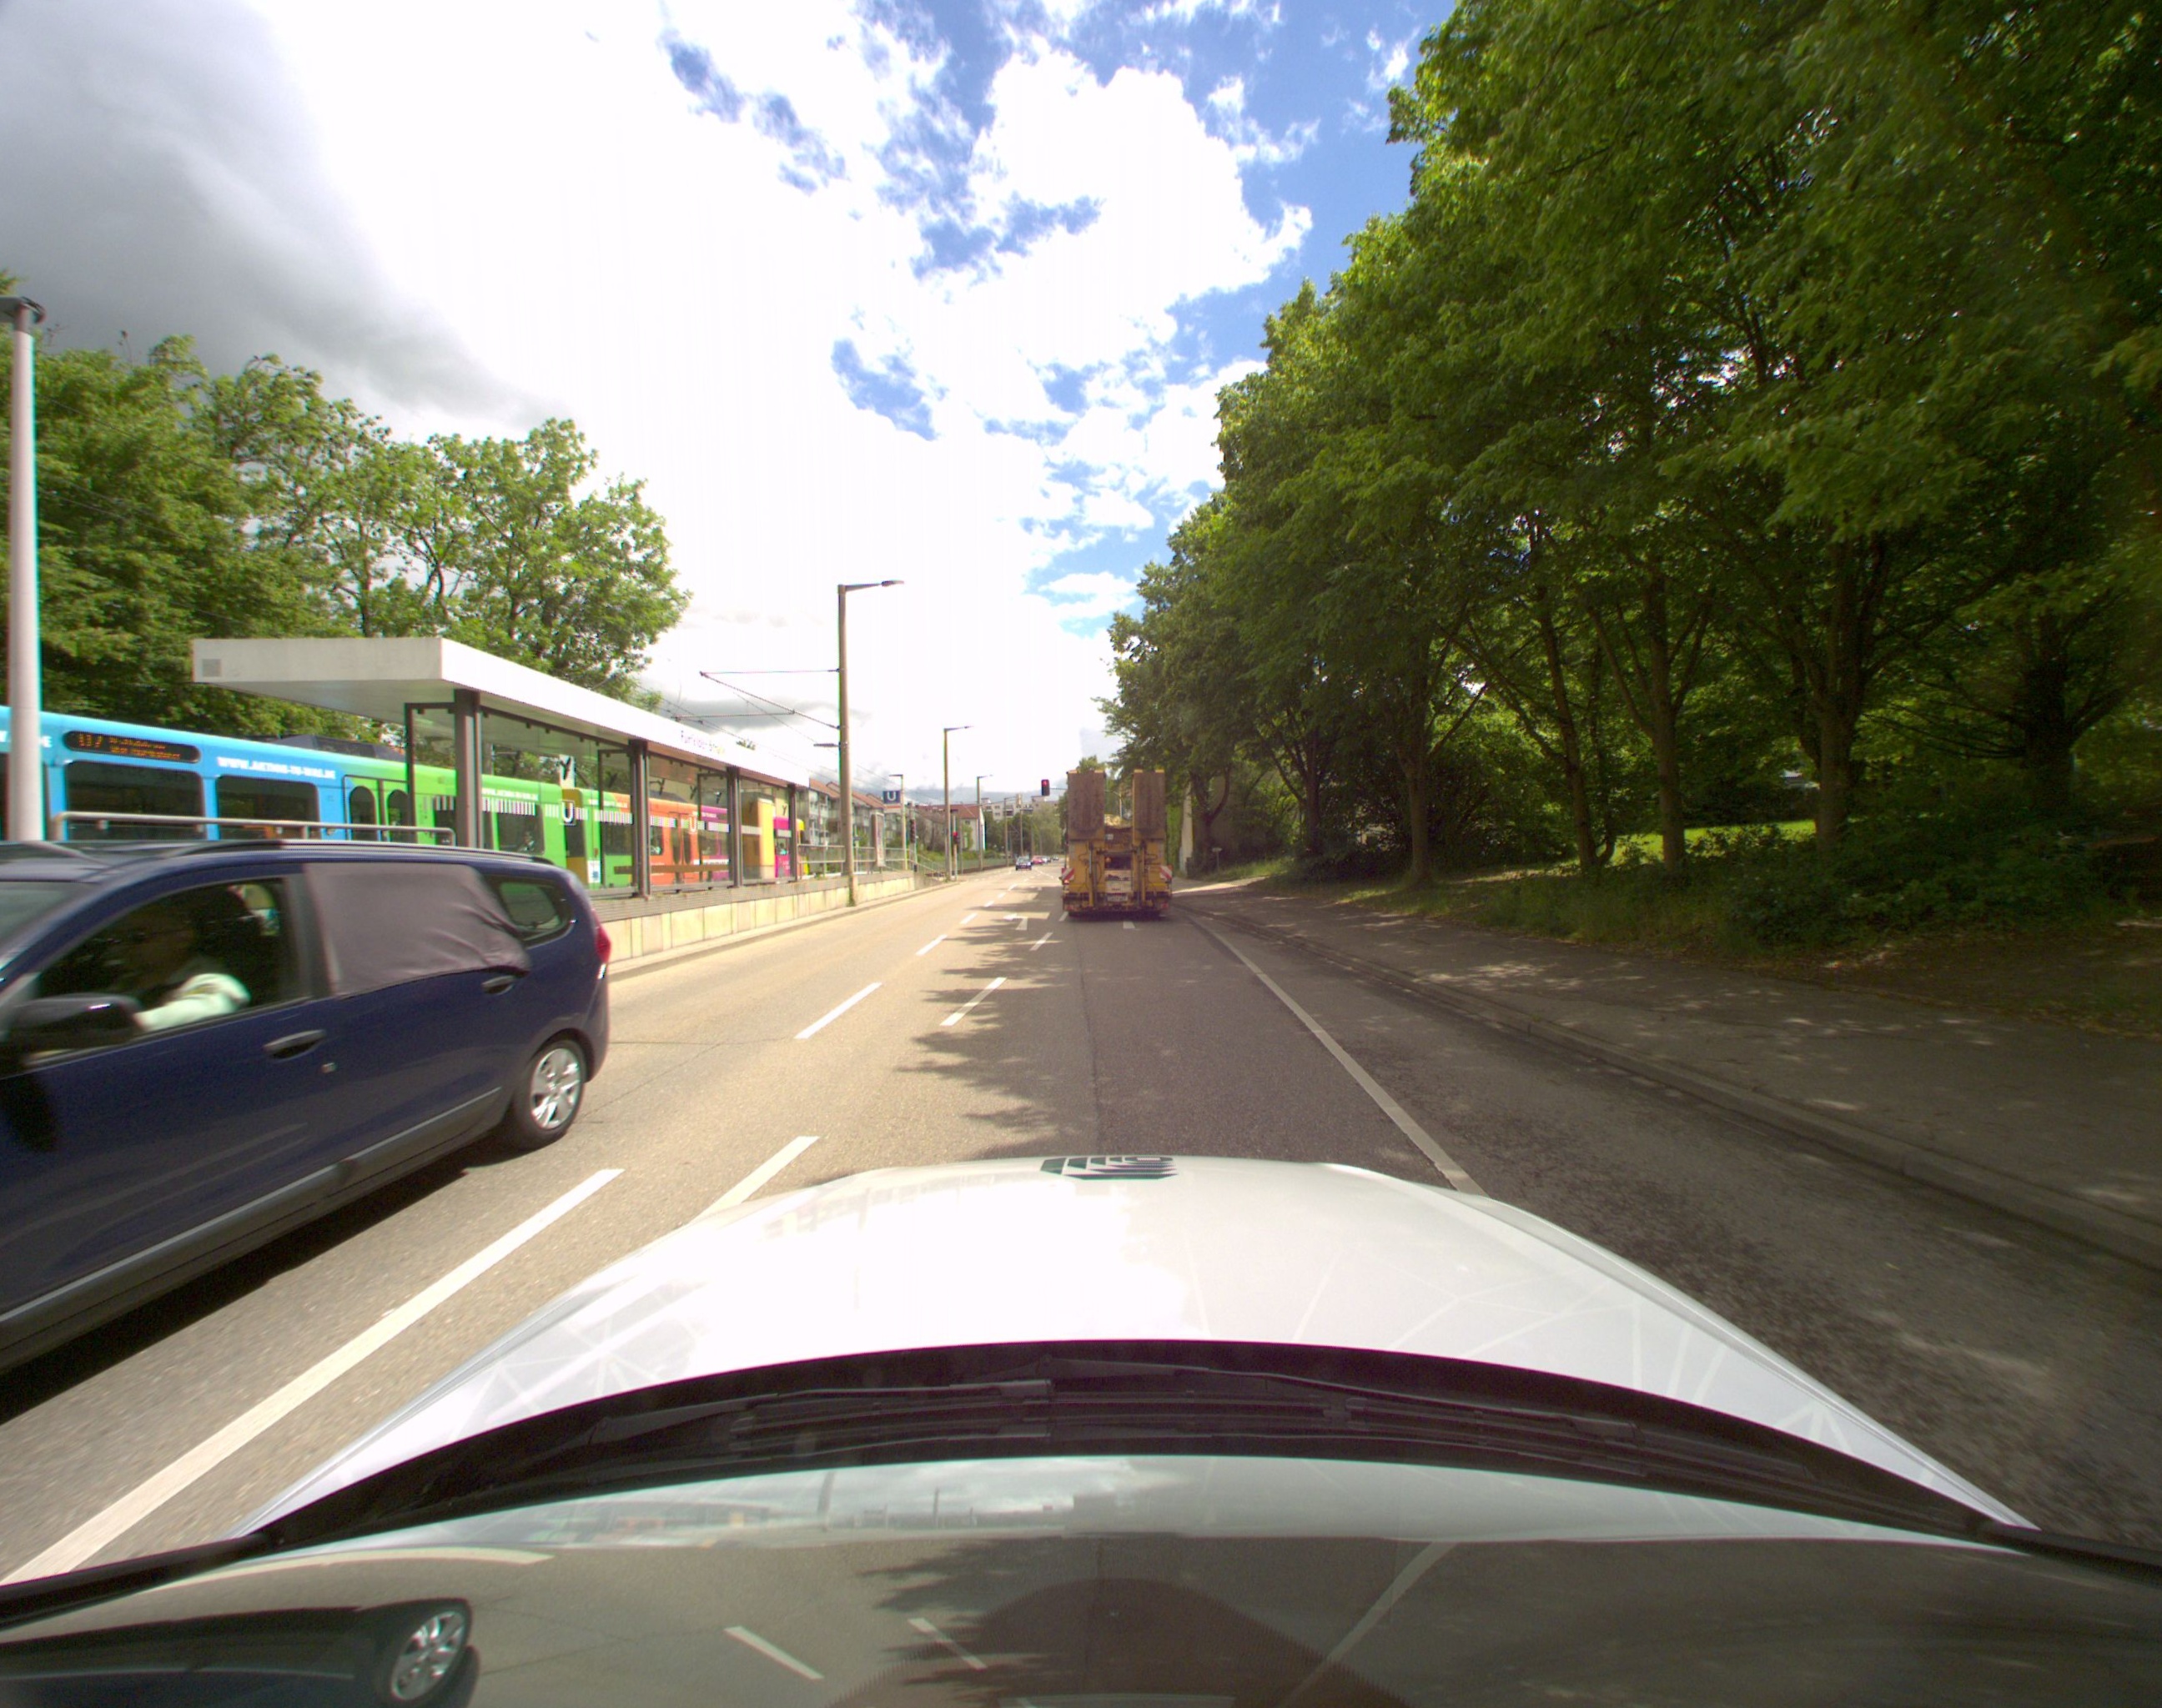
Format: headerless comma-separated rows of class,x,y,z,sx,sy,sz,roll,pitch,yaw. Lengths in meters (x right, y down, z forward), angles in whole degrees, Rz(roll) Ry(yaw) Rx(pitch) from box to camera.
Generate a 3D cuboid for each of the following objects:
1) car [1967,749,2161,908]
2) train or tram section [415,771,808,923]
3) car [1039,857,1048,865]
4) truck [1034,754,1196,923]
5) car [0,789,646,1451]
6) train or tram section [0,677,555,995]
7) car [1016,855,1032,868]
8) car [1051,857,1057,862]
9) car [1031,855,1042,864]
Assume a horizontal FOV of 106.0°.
car,11.081,-0.308,7.265,1.710,1.507,4.158,-5,0,-1
train or tram section,-13.893,-0.164,28.141,3.100,3.465,19.074,0,0,-2
car,-6.903,1.368,149.708,1.663,1.453,3.676,0,-1,-2
truck,0.398,-0.361,25.342,3.396,3.732,13.717,-2,0,-4
car,-3.628,0.681,3.055,1.716,1.682,4.384,0,0,-1
train or tram section,-13.316,-0.187,9.001,3.100,3.465,19.183,0,0,-2
car,-6.207,0.846,88.900,1.663,1.453,3.676,0,-1,-2
car,-7.875,1.661,240.099,1.663,1.453,3.676,0,-1,-2
car,-7.327,0.988,133.916,1.663,1.453,3.676,0,-1,-2
